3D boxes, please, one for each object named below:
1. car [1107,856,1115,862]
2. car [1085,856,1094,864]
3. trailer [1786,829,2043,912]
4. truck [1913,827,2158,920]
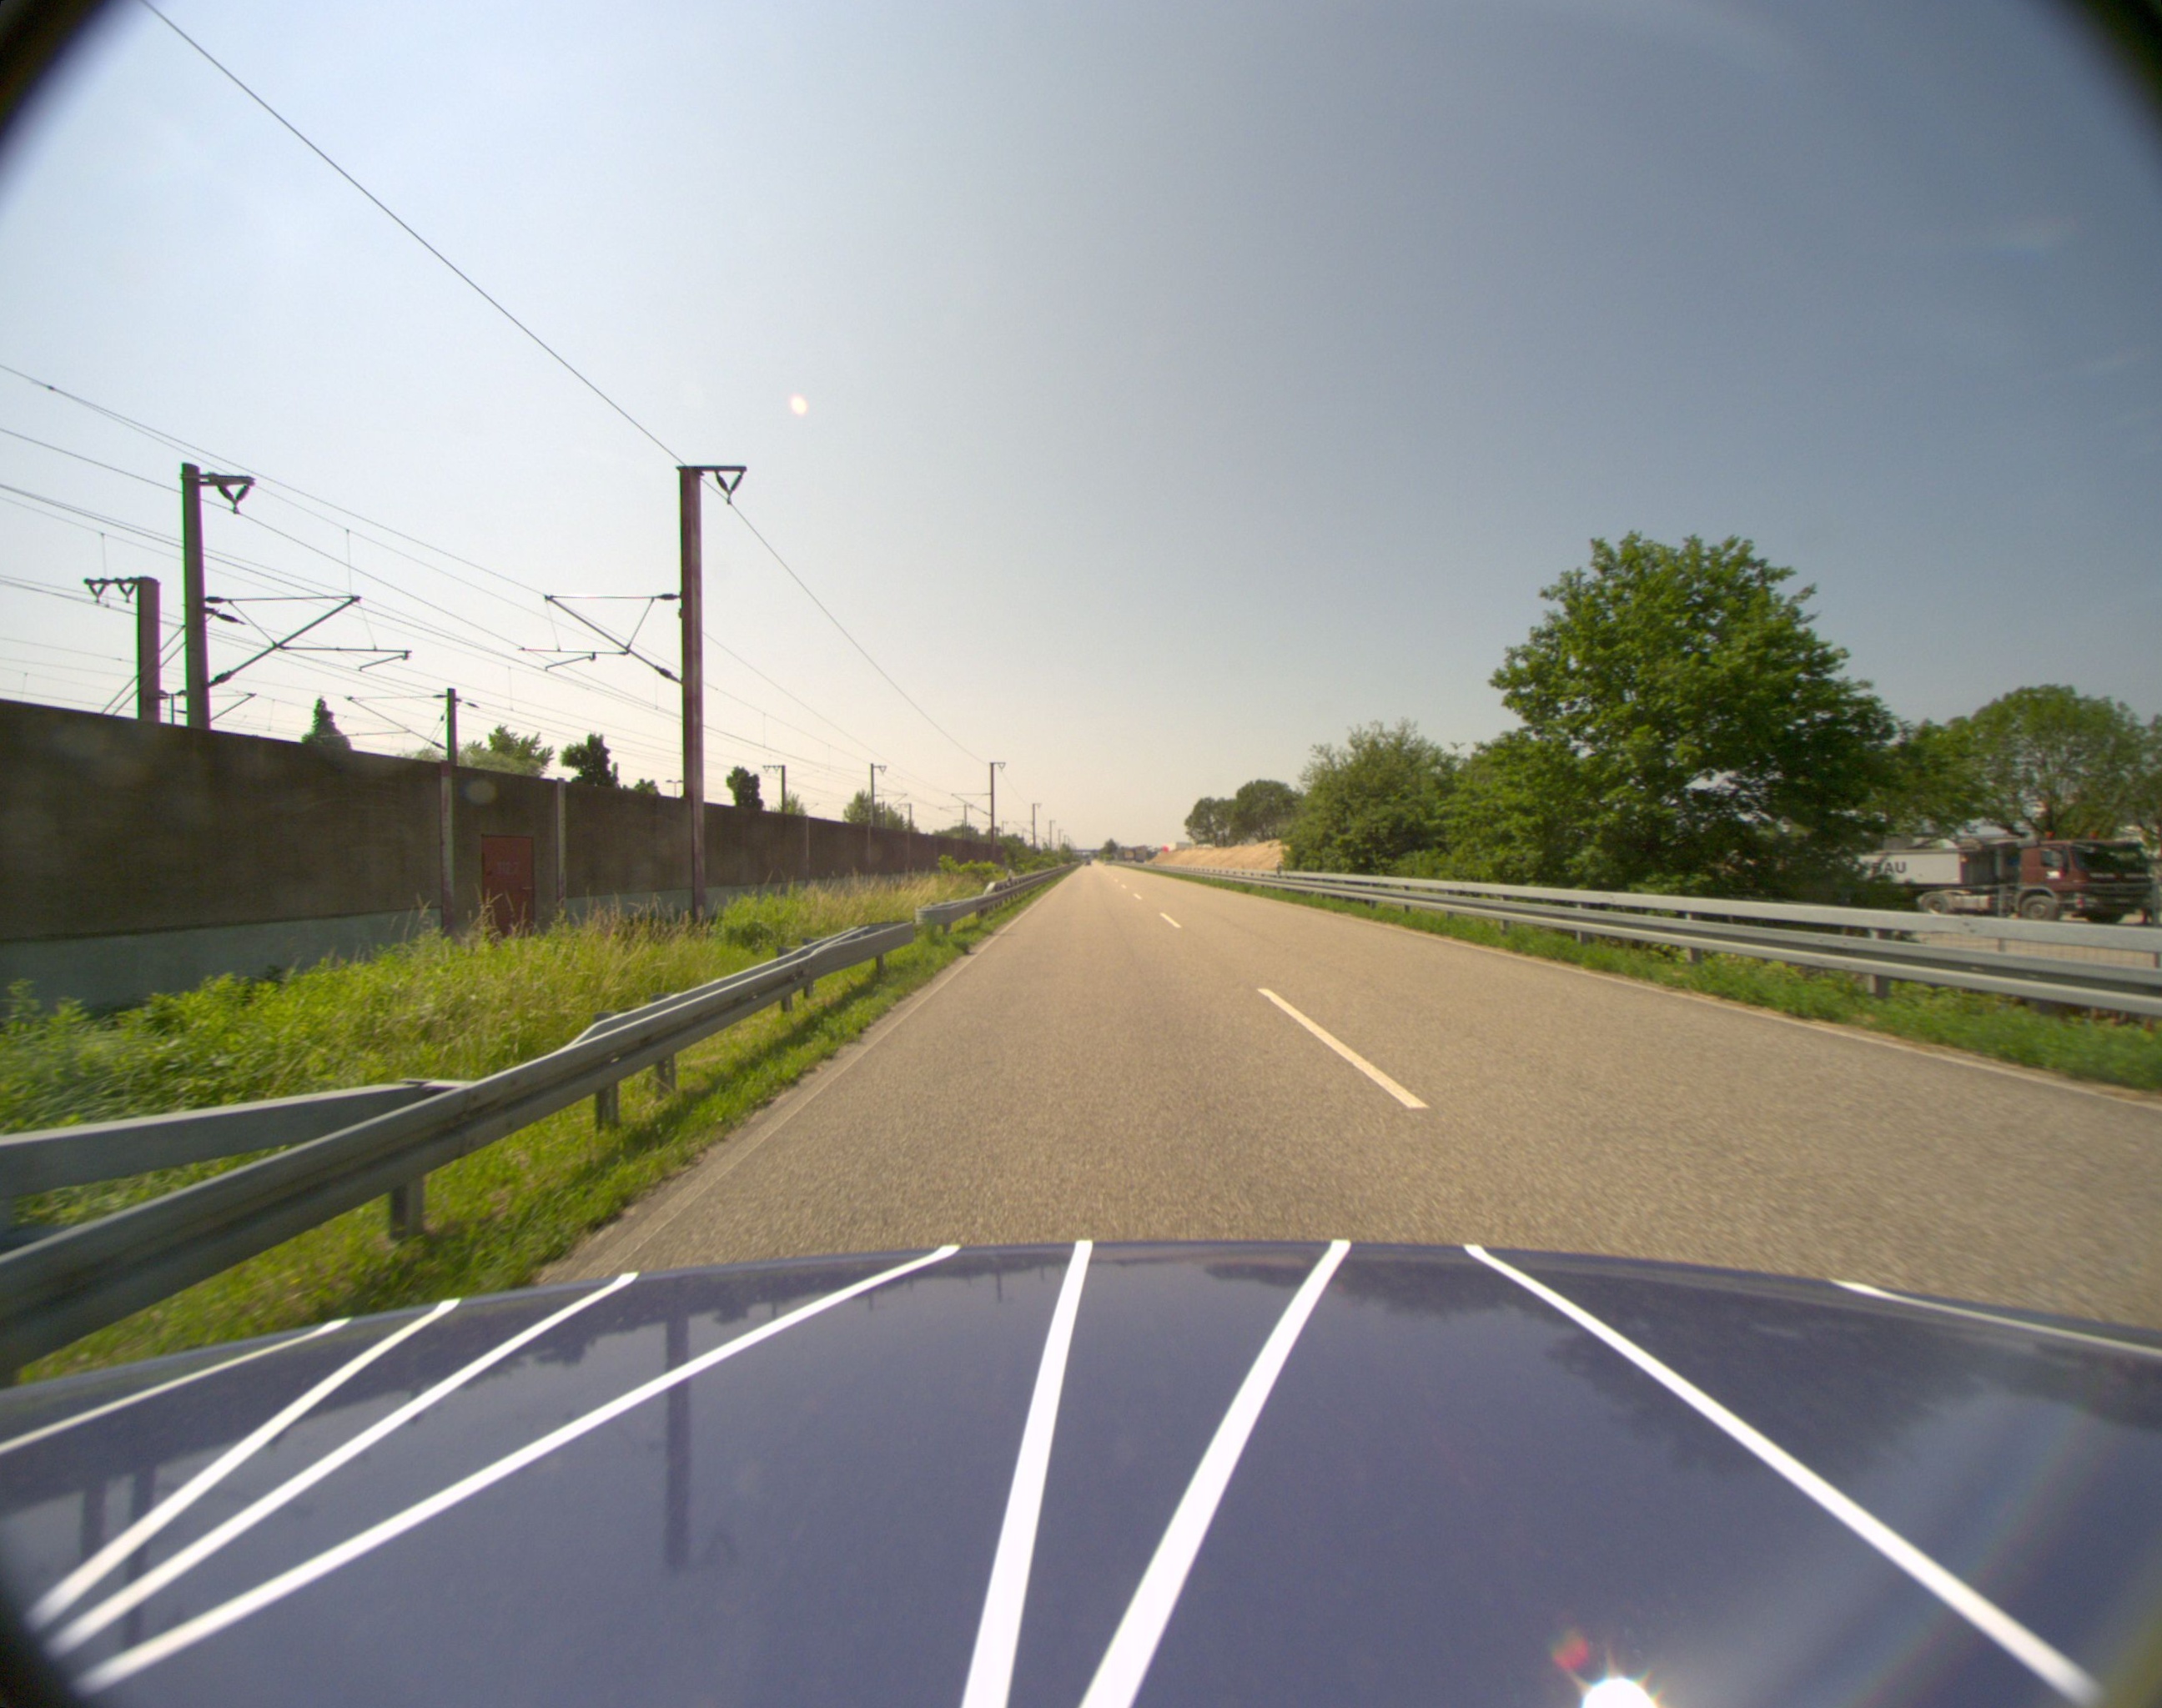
[{"bbox_3d":[7.107,1.202,181.504,1.599,1.567,3.828,-2,0,0],"label":"car"},{"bbox_3d":[2.218,1.449,198.292,1.999,2.002,3.999,-2,0,-1],"label":"car"},{"bbox_3d":[37.449,0.624,34.803,2.444,3.205,8.809,-3,0,4],"label":"trailer"},{"bbox_3d":[37.106,0.672,29.922,2.444,3.205,5.885,-3,1,5],"label":"truck"}]
